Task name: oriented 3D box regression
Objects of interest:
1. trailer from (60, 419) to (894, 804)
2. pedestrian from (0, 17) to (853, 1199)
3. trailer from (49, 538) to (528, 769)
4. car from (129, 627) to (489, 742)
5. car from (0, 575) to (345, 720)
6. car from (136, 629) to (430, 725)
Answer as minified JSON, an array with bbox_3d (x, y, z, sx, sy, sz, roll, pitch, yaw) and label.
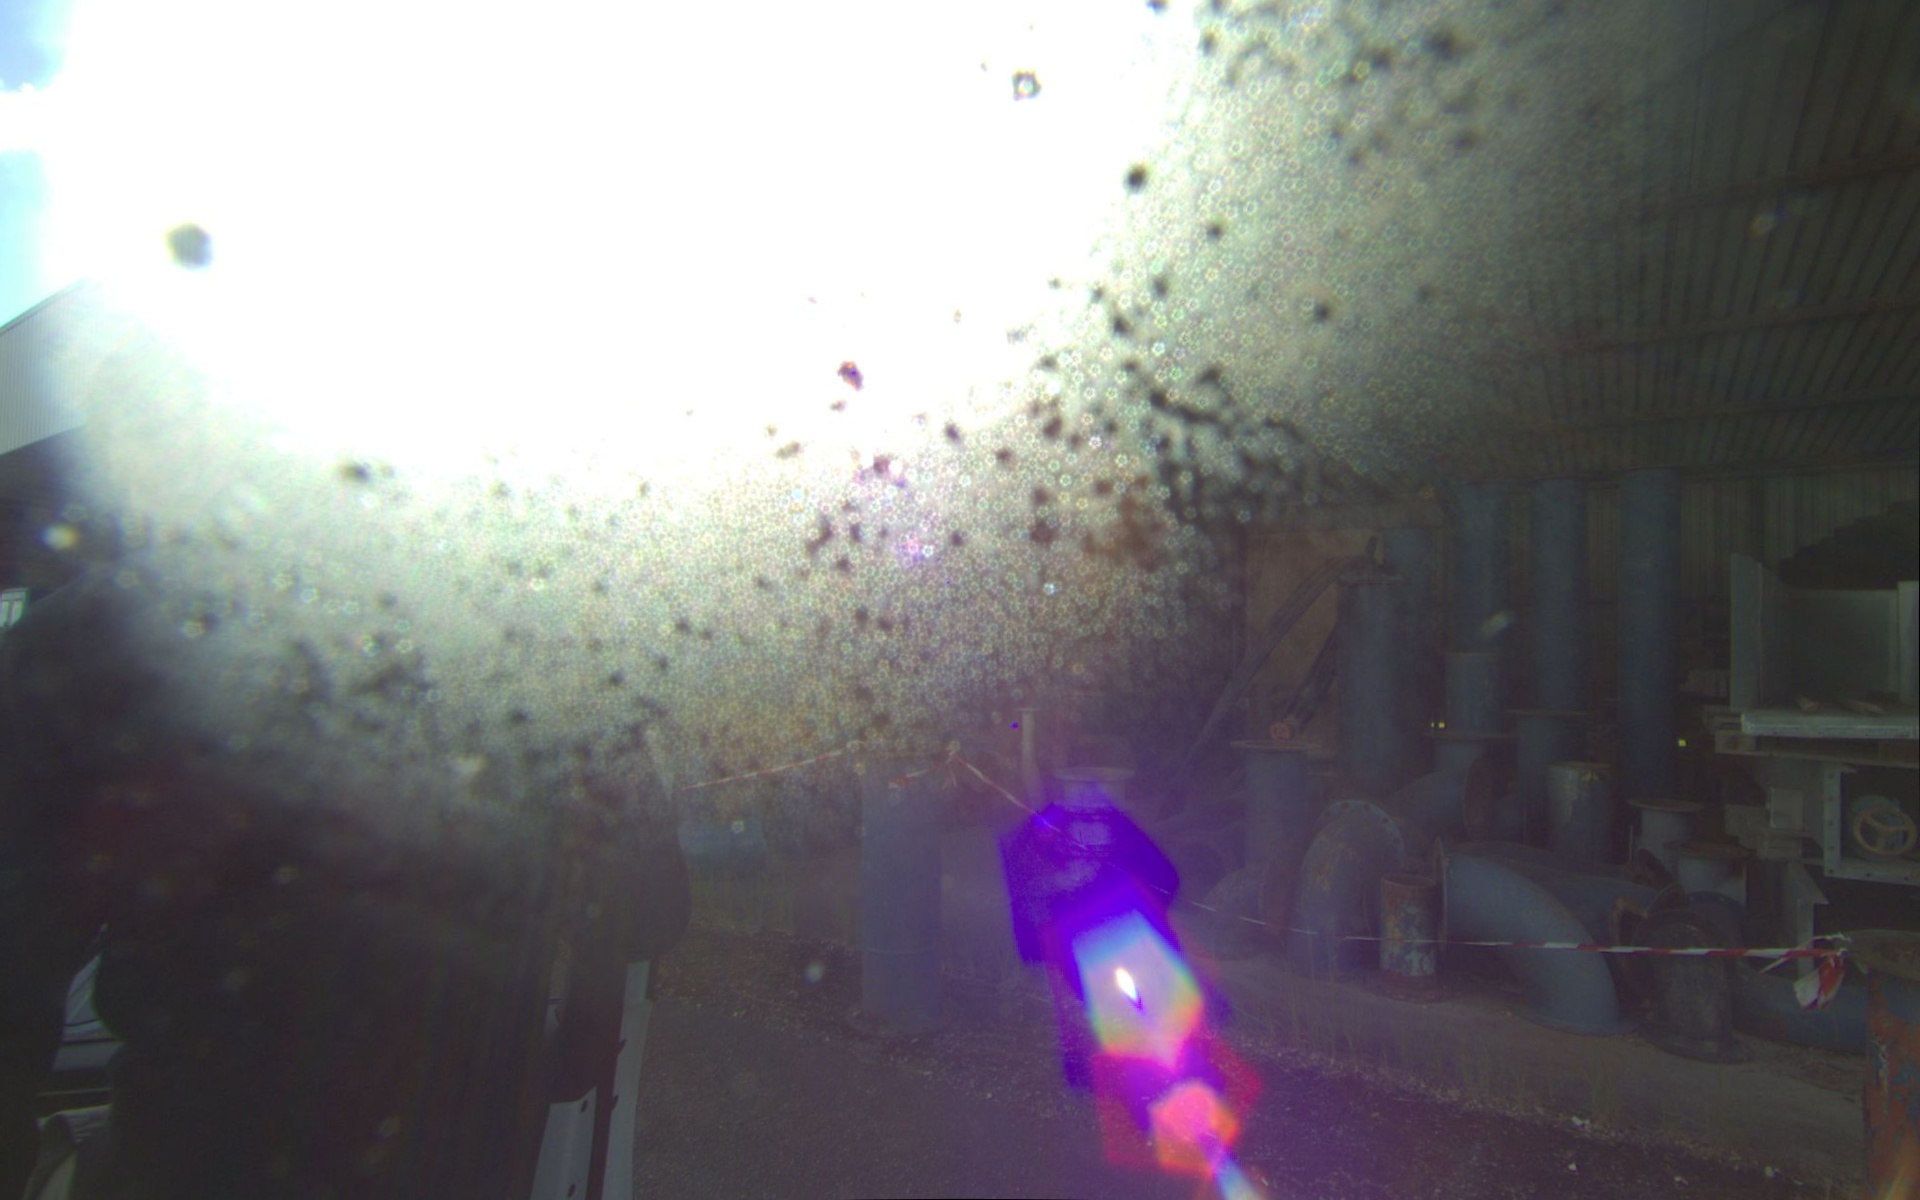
[{"bbox_3d":[-5.053,0.333,13.424,2.814,3.256,10.019,-1,-3,34],"label":"trailer"},{"bbox_3d":[-0.497,0.616,0.883,0.562,1.809,0.550,0,-2,32],"label":"pedestrian"},{"bbox_3d":[-8.371,0.681,12.957,1.804,2.421,4.796,-1,-3,38],"label":"trailer"},{"bbox_3d":[-9.819,1.219,15.486,1.751,1.514,4.324,-1,-3,31],"label":"car"},{"bbox_3d":[-14.767,0.911,18.899,1.973,2.354,4.969,-1,-3,34],"label":"car"},{"bbox_3d":[-11.917,1.313,17.905,1.761,1.491,3.985,-1,-3,29],"label":"car"}]
